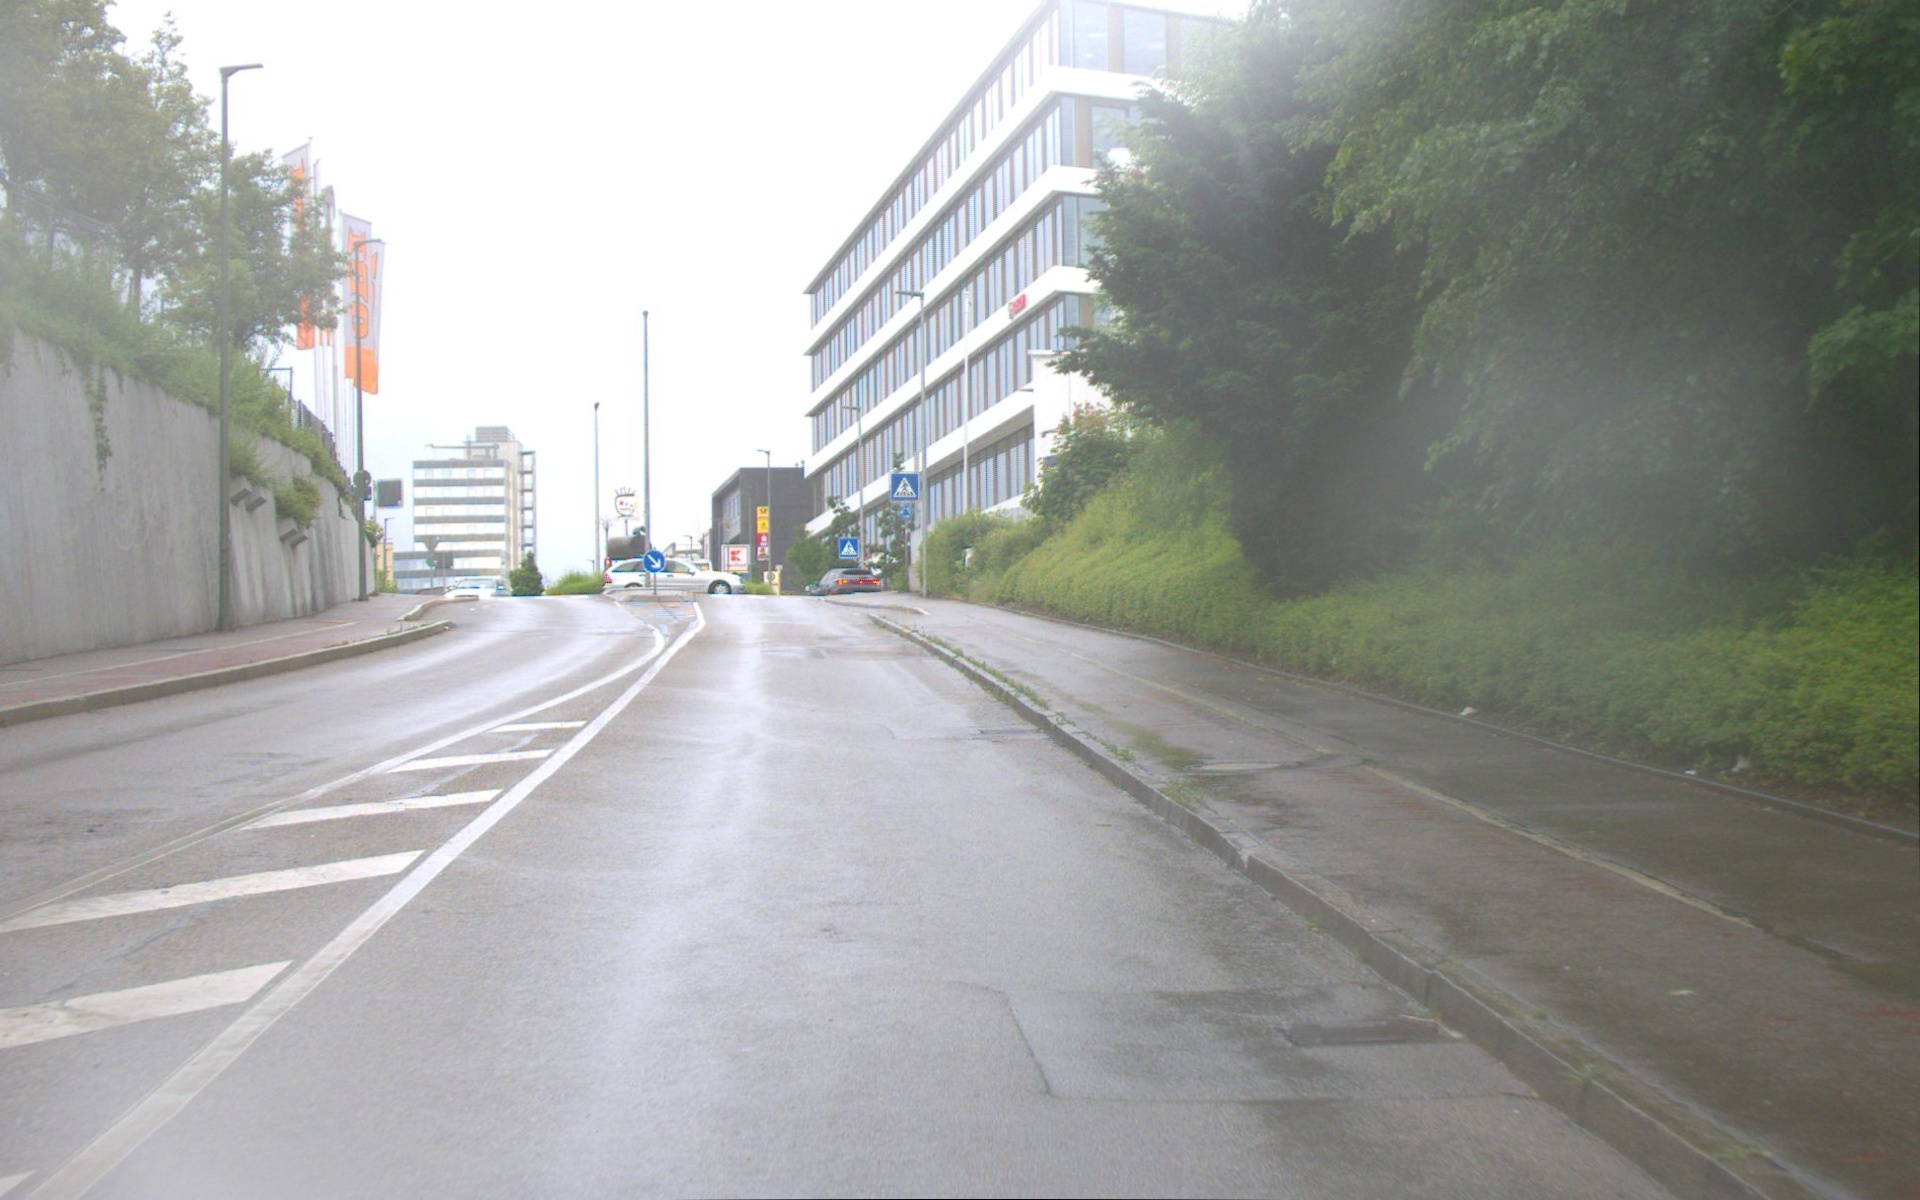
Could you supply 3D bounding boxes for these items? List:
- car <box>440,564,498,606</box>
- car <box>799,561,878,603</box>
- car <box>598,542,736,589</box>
[{"bbox_3d":[-17.849,-0.529,125.132,2.001,1.422,4.782,2,0,-7],"label":"car"},{"bbox_3d":[-4.285,-0.646,120.494,1.794,1.405,4.217,-1,1,-16],"label":"car"},{"bbox_3d":[-9.288,-1.103,109.223,4.235,1.357,1.645,2,1,-1],"label":"car"}]
